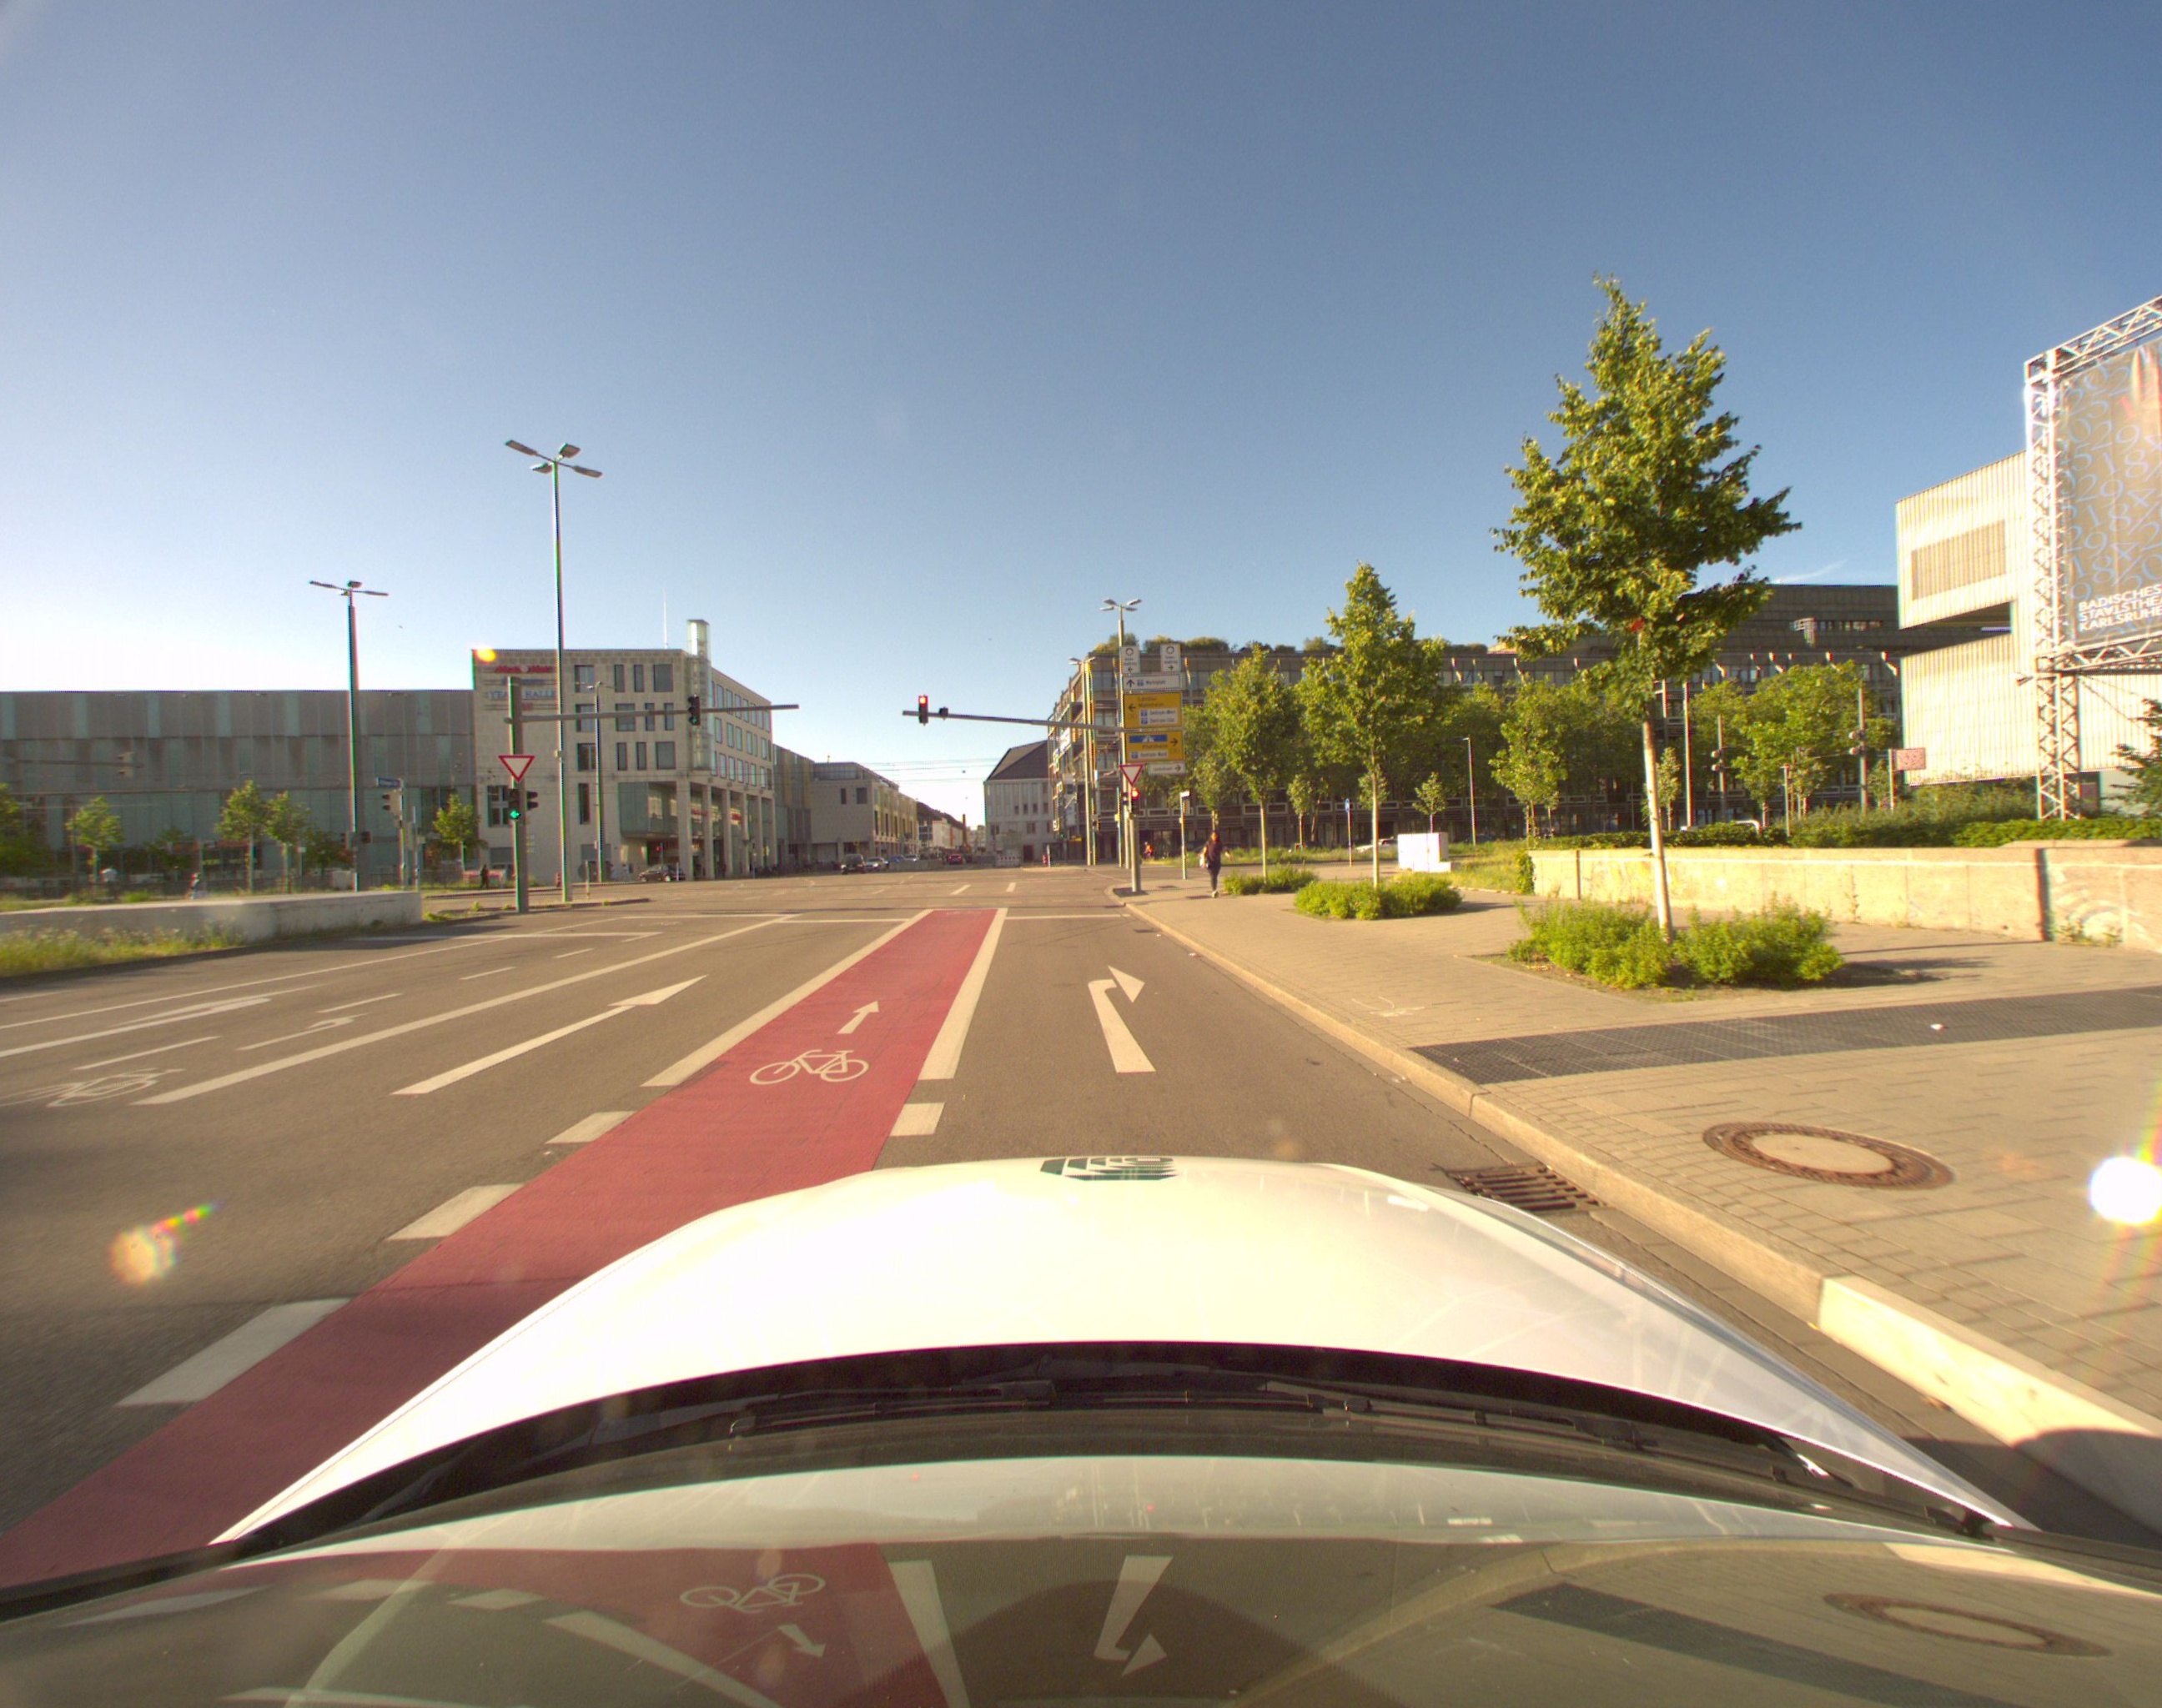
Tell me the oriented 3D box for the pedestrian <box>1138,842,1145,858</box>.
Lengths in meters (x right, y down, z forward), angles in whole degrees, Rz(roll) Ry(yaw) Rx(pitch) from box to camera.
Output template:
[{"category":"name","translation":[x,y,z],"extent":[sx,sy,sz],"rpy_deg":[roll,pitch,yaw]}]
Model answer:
[{"category":"pedestrian","translation":[6.040,-0.380,80.884],"extent":[0.620,1.518,0.654],"rpy_deg":[-2,0,5]}]

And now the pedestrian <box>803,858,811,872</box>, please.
[{"category":"pedestrian","translation":[-31.528,1.241,93.756],"extent":[0.746,1.608,0.619],"rpy_deg":[-2,1,-31]}]

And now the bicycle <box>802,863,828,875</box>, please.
[{"category":"bicycle","translation":[-35.271,2.019,108.113],"extent":[3.048,1.400,0.900],"rpy_deg":[-3,0,-8]}]

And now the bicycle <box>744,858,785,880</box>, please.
[{"category":"bicycle","translation":[-32.369,1.539,83.255],"extent":[3.618,2.013,1.084],"rpy_deg":[-3,0,-8]}]

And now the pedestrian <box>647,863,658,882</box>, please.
[{"category":"pedestrian","translation":[-37.321,1.612,70.922],"extent":[0.621,1.608,0.652],"rpy_deg":[-2,0,-4]}]

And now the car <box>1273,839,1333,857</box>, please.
[{"category":"car","translation":[19.349,-0.553,71.105],"extent":[4.626,1.356,1.996],"rpy_deg":[-2,2,-7]}]

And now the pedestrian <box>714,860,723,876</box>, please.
[{"category":"pedestrian","translation":[-37.264,1.476,83.789],"extent":[0.628,1.608,0.646],"rpy_deg":[-3,1,-39]}]

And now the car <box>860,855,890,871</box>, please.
[{"category":"car","translation":[-20.820,0.879,82.547],"extent":[1.989,1.356,4.642],"rpy_deg":[-2,2,-3]}]

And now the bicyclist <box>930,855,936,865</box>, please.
[{"category":"bicyclist","translation":[-21.123,0.827,116.075],"extent":[0.745,1.460,0.765],"rpy_deg":[-2,0,-6]}]

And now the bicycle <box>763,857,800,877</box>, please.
[{"category":"bicycle","translation":[-33.383,1.425,90.839],"extent":[3.618,2.013,0.900],"rpy_deg":[-3,0,-8]}]

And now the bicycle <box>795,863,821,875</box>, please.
[{"category":"bicycle","translation":[-34.869,1.925,104.002],"extent":[3.048,1.400,0.900],"rpy_deg":[-3,0,-8]}]

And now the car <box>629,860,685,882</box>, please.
[{"category":"car","translation":[-33.014,1.345,63.425],"extent":[3.744,1.564,1.791],"rpy_deg":[-2,1,21]}]

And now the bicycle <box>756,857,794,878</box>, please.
[{"category":"bicycle","translation":[-33.374,1.473,88.748],"extent":[3.618,2.013,1.084],"rpy_deg":[-3,0,-8]}]

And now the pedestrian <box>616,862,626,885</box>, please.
[{"category":"pedestrian","translation":[-40.687,1.692,72.030],"extent":[0.623,2.013,0.514],"rpy_deg":[-2,0,-12]}]

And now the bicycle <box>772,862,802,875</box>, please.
[{"category":"bicycle","translation":[-33.817,1.641,93.634],"extent":[3.048,1.400,0.900],"rpy_deg":[-3,0,-8]}]

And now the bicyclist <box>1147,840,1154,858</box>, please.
[{"category":"bicyclist","translation":[5.307,-0.366,62.235],"extent":[0.507,1.338,0.452],"rpy_deg":[-2,0,-1]}]

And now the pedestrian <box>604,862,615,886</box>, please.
[{"category":"pedestrian","translation":[-40.987,1.735,70.812],"extent":[0.623,2.013,0.514],"rpy_deg":[-2,0,-12]}]

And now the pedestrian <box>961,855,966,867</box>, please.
[{"category":"pedestrian","translation":[-17.738,1.067,123.315],"extent":[0.714,1.668,0.985],"rpy_deg":[-2,0,-8]}]

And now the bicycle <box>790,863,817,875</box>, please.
[{"category":"bicycle","translation":[-34.530,1.864,101.321],"extent":[3.048,1.400,0.900],"rpy_deg":[-3,0,-8]}]

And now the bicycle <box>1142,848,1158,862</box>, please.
[{"category":"bicycle","translation":[5.271,0.073,62.232],"extent":[1.073,0.971,0.458],"rpy_deg":[-2,0,-2]}]

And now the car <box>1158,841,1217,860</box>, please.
[{"category":"car","translation":[9.025,-0.309,69.145],"extent":[4.626,1.356,1.996],"rpy_deg":[-2,2,-7]}]

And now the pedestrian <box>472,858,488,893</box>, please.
[{"category":"pedestrian","translation":[-35.458,1.243,48.060],"extent":[0.515,2.013,0.621],"rpy_deg":[-2,0,-16]}]

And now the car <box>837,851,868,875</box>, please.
[{"category":"car","translation":[-19.033,0.736,67.667],"extent":[2.001,1.742,4.613],"rpy_deg":[-3,2,-21]}]

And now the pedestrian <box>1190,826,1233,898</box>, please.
[{"category":"pedestrian","translation":[3.349,0.191,20.813],"extent":[0.815,1.748,1.047],"rpy_deg":[-3,0,18]}]

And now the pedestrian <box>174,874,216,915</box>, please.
[{"category":"pedestrian","translation":[-34.297,1.553,31.539],"extent":[0.722,1.502,0.800],"rpy_deg":[-2,0,-13]}]

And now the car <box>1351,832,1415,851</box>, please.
[{"category":"car","translation":[25.256,-1.067,68.095],"extent":[4.626,1.356,1.996],"rpy_deg":[-2,2,-7]}]

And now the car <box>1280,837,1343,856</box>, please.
[{"category":"car","translation":[19.060,-0.604,67.460],"extent":[4.626,1.356,1.996],"rpy_deg":[-2,2,-7]}]

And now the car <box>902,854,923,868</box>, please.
[{"category":"car","translation":[-21.623,0.893,104.741],"extent":[1.989,1.623,4.233],"rpy_deg":[-3,1,-3]}]

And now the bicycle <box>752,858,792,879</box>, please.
[{"category":"bicycle","translation":[-32.159,1.495,84.729],"extent":[3.618,2.013,1.084],"rpy_deg":[-3,0,-8]}]

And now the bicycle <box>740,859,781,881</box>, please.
[{"category":"bicycle","translation":[-32.250,1.603,81.923],"extent":[3.622,2.013,1.082],"rpy_deg":[-3,0,-11]}]

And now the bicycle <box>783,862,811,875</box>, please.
[{"category":"bicycle","translation":[-34.191,1.787,98.039],"extent":[3.048,1.400,0.900],"rpy_deg":[-3,0,-8]}]

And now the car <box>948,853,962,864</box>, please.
[{"category":"car","translation":[-18.969,0.640,122.170],"extent":[1.993,1.552,3.987],"rpy_deg":[-2,1,-9]}]

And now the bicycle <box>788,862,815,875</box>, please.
[{"category":"bicycle","translation":[-34.285,1.820,99.922],"extent":[3.048,1.400,0.900],"rpy_deg":[-3,0,-8]}]

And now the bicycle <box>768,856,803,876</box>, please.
[{"category":"bicycle","translation":[-33.622,1.354,92.668],"extent":[3.618,2.013,0.900],"rpy_deg":[-3,0,-8]}]

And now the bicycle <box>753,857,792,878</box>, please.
[{"category":"bicycle","translation":[-33.189,1.464,87.611],"extent":[3.618,2.013,1.084],"rpy_deg":[-3,0,-8]}]

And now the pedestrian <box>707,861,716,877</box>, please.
[{"category":"pedestrian","translation":[-37.626,1.547,82.952],"extent":[0.628,1.608,0.646],"rpy_deg":[-3,1,-39]}]

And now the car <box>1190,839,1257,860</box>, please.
[{"category":"car","translation":[10.760,-0.355,61.609],"extent":[4.626,1.356,1.996],"rpy_deg":[-2,2,-7]}]

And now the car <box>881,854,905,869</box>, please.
[{"category":"car","translation":[-21.366,0.786,92.559],"extent":[1.989,1.530,4.031],"rpy_deg":[-3,1,-4]}]

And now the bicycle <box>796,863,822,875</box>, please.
[{"category":"bicycle","translation":[-35.060,1.956,105.088],"extent":[3.048,1.400,0.900],"rpy_deg":[-3,0,-8]}]
